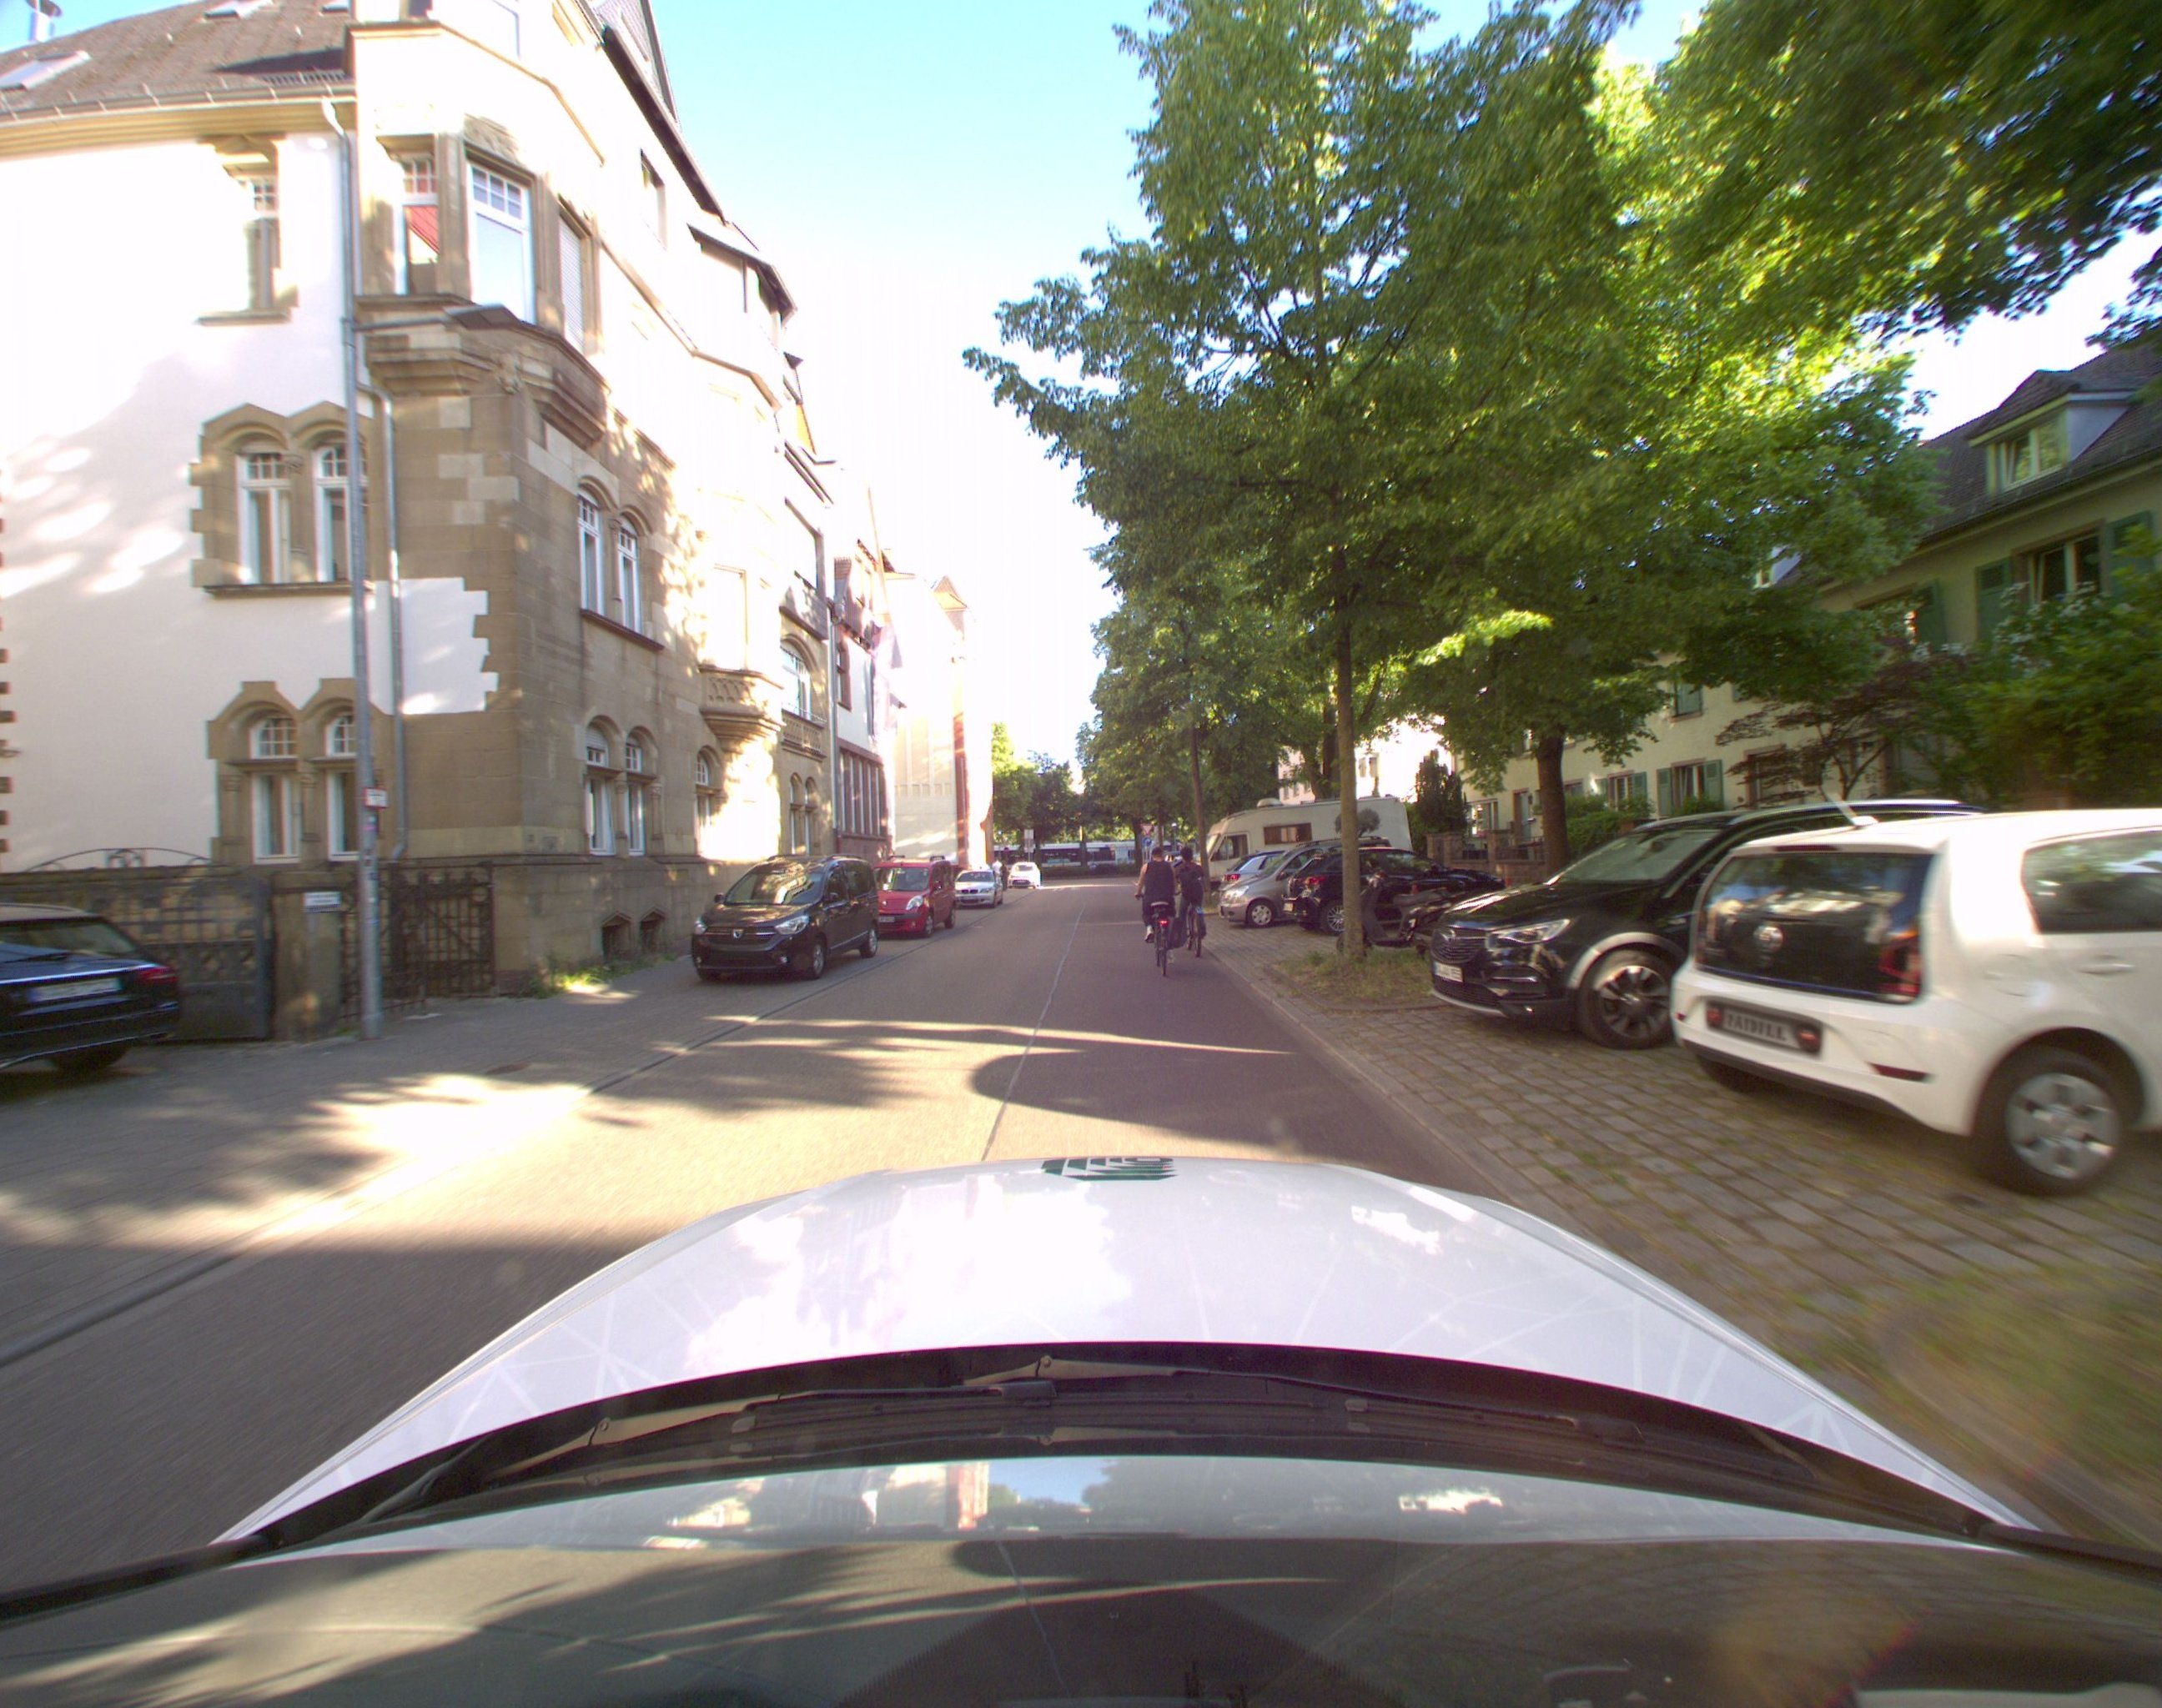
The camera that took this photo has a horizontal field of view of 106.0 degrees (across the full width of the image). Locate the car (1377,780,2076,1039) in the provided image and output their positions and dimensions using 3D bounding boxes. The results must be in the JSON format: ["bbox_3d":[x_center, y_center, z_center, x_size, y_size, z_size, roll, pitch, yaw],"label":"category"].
[{"bbox_3d":[4.782,0.428,6.559,4.121,1.600,1.704,-3,-2,3],"label":"car"}]

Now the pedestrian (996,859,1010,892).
[{"bbox_3d":[-4.079,1.131,42.672,0.607,1.679,0.518,-1,-1,2],"label":"pedestrian"}]

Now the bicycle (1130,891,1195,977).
[{"bbox_3d":[1.115,1.082,11.534,0.735,1.054,1.956,-1,-1,1],"label":"bicycle"}]

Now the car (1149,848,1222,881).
[{"bbox_3d":[6.004,0.630,47.145,3.975,1.803,1.833,-1,-1,-1],"label":"car"}]

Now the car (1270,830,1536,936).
[{"bbox_3d":[5.745,0.527,14.889,4.127,1.600,1.701,-3,-2,-1],"label":"car"}]

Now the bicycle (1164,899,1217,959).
[{"bbox_3d":[1.793,1.212,13.558,0.631,0.799,1.833,-3,0,2],"label":"bicycle"}]

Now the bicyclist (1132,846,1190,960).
[{"bbox_3d":[1.109,0.674,11.504,0.727,1.548,0.884,-1,-1,0],"label":"bicyclist"}]

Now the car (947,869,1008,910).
[{"bbox_3d":[-3.819,1.292,30.633,1.577,1.343,4.133,0,0,2],"label":"car"}]

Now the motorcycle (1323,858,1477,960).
[{"bbox_3d":[3.880,0.658,9.948,1.587,1.141,0.677,-3,-1,35],"label":"motorcycle"}]

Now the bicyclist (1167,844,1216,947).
[{"bbox_3d":[1.825,0.669,13.585,0.686,1.627,0.999,-1,-1,2],"label":"bicyclist"}]

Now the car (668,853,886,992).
[{"bbox_3d":[-4.496,0.895,12.810,1.634,1.783,4.356,0,0,2],"label":"car"}]

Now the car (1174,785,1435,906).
[{"bbox_3d":[6.660,-0.240,24.933,7.127,2.978,2.463,-4,-1,-2],"label":"car"}]

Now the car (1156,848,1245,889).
[{"bbox_3d":[5.705,0.695,39.259,3.975,1.803,1.833,-1,-1,-1],"label":"car"}]

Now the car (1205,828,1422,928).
[{"bbox_3d":[4.876,0.500,17.468,4.071,1.650,1.640,-6,-1,-1],"label":"car"}]

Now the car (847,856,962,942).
[{"bbox_3d":[-4.146,0.984,19.787,1.682,1.825,4.275,0,0,2],"label":"car"}]

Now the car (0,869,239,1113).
[{"bbox_3d":[-9.580,1.032,6.340,4.185,1.668,1.718,-2,0,0],"label":"car"}]

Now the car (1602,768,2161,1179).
[{"bbox_3d":[5.087,0.444,4.086,3.757,1.600,1.692,-3,-2,3],"label":"car"}]

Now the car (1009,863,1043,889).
[{"bbox_3d":[-3.235,1.265,48.437,1.577,1.375,4.133,0,0,2],"label":"car"}]

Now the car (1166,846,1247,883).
[{"bbox_3d":[6.592,0.545,43.000,3.975,1.803,1.833,-1,-1,-1],"label":"car"}]

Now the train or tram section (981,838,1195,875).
[{"bbox_3d":[1.070,0.256,90.767,23.892,3.708,4.255,-1,-1,-21],"label":"train or tram section"}]

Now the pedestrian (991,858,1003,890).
[{"bbox_3d":[-4.719,1.115,45.776,0.607,1.762,0.432,-1,-1,2],"label":"pedestrian"}]
